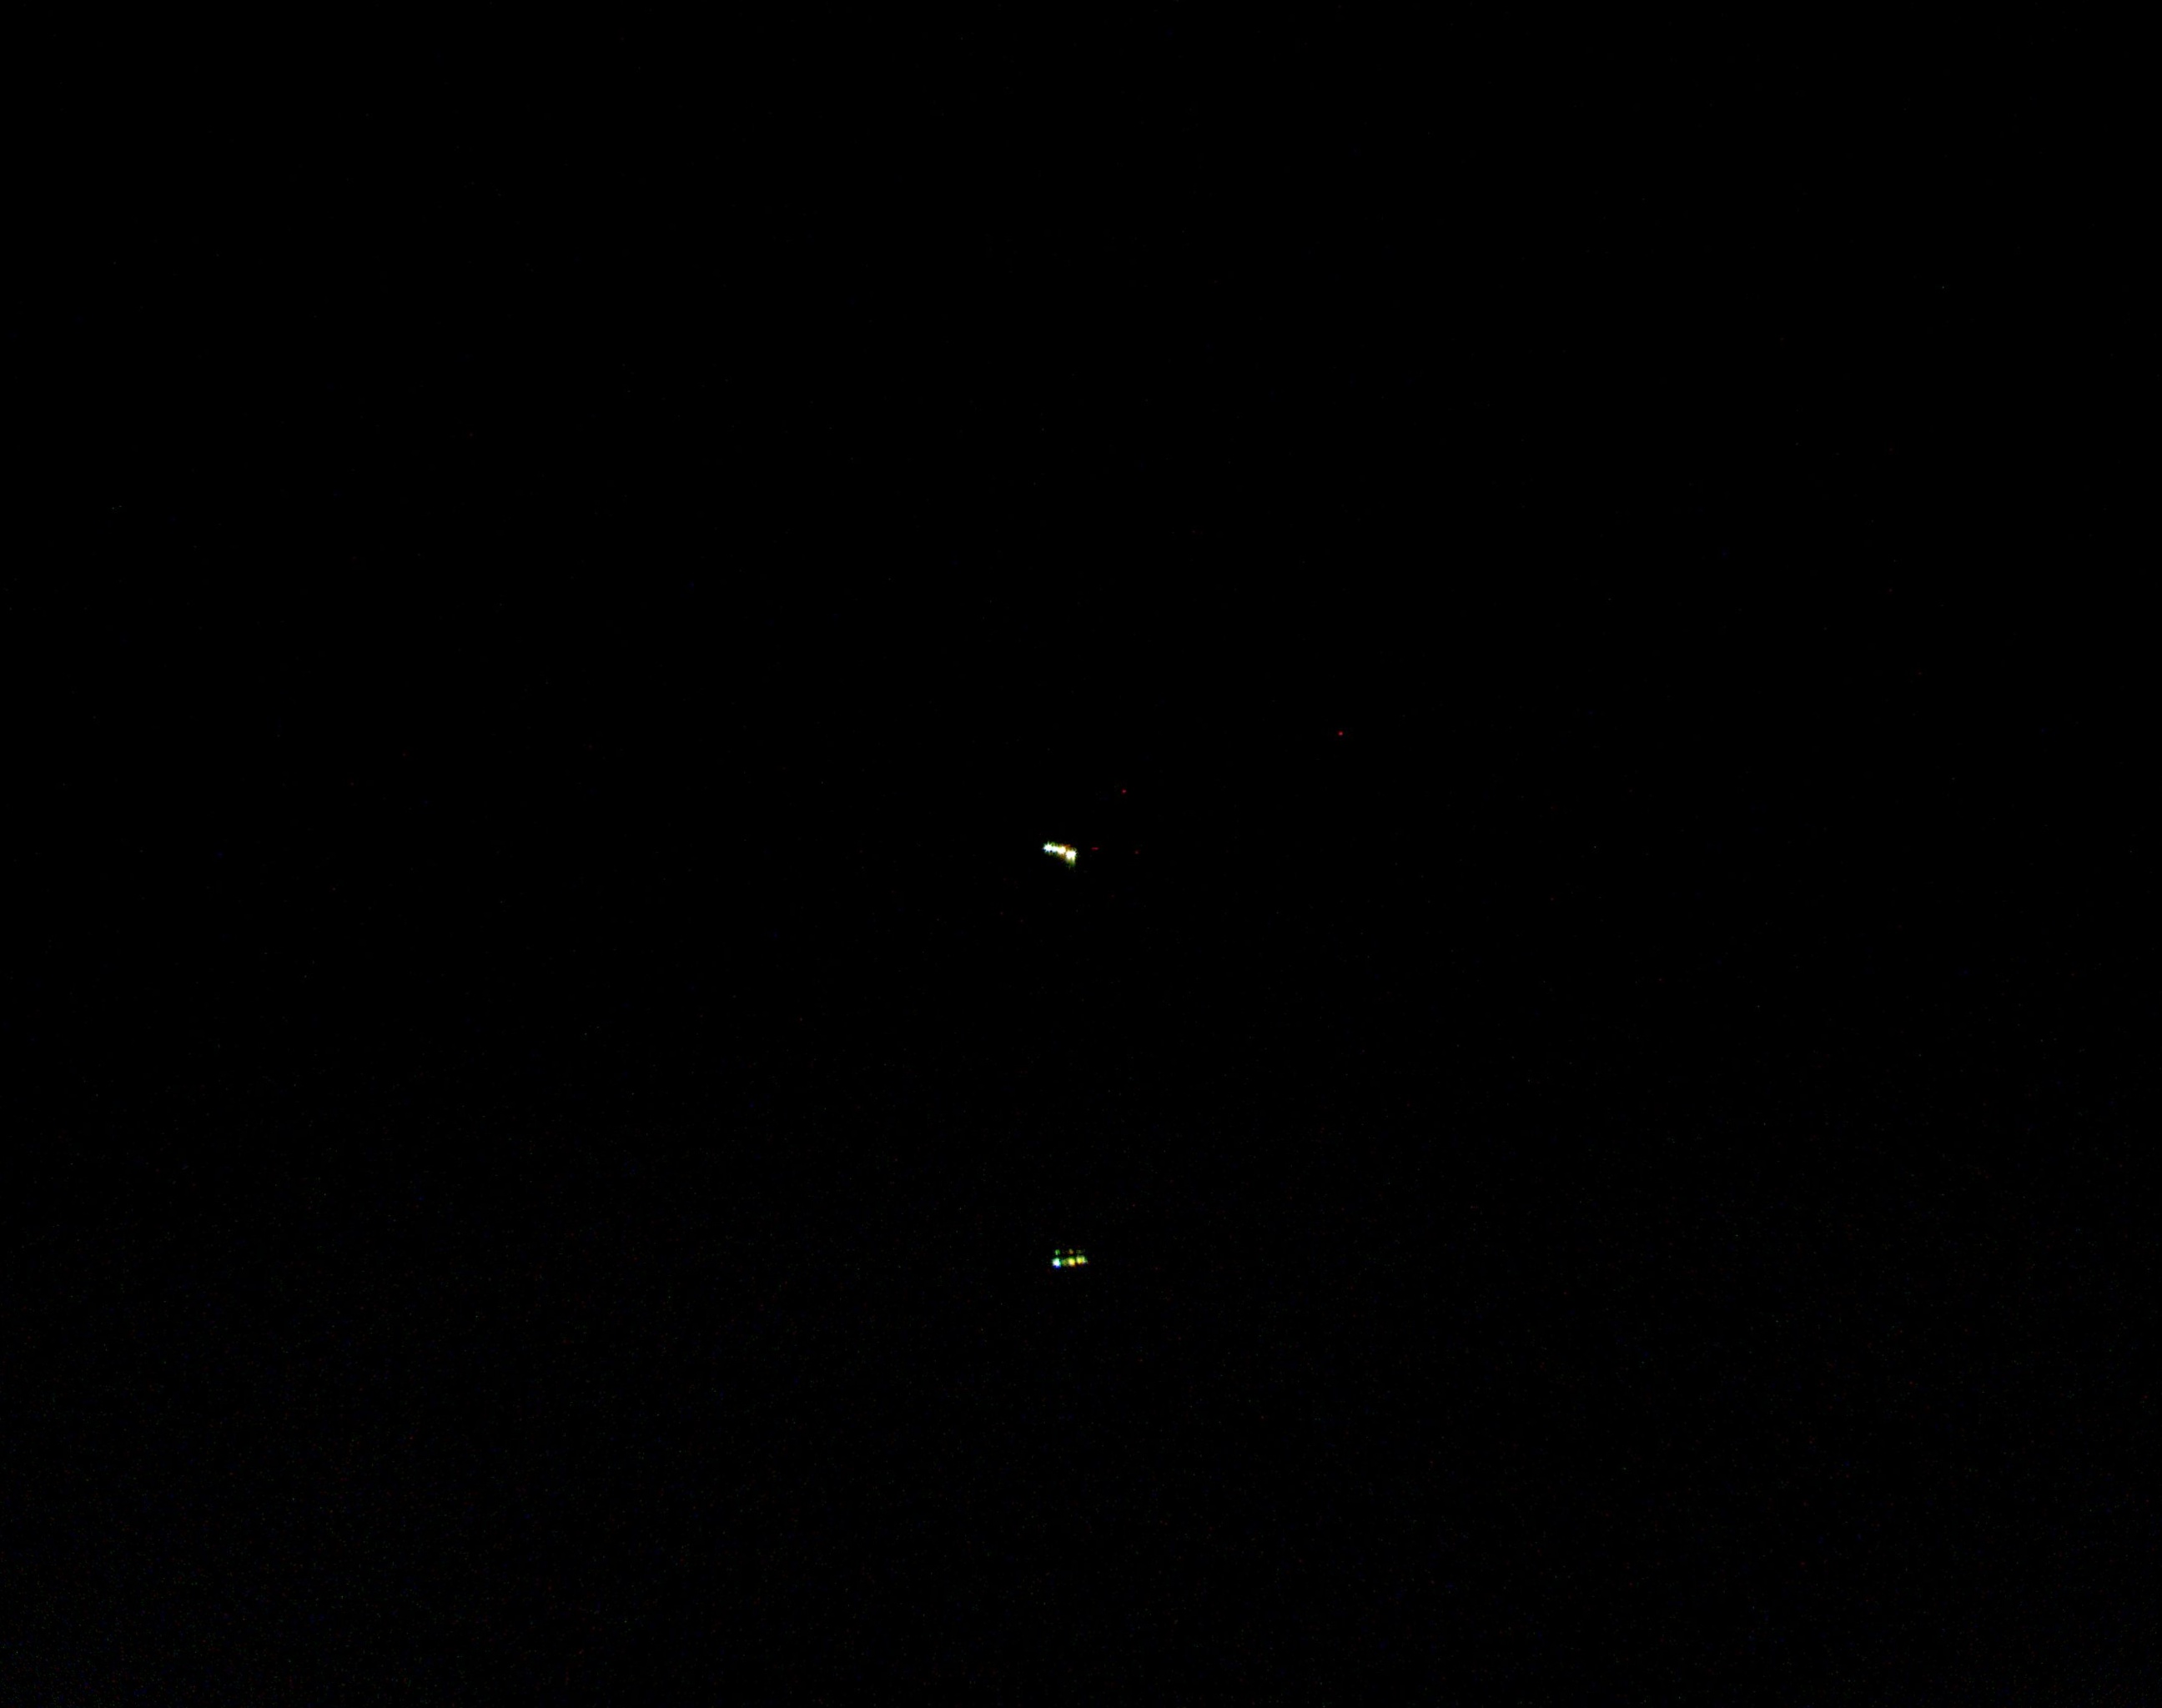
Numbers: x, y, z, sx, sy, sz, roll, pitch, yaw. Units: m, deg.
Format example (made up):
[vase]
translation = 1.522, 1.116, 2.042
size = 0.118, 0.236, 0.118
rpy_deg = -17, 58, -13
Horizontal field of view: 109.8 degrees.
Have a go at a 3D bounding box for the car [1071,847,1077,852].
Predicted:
[car]
translation = -2.427, -1.482, 256.368
size = 1.860, 1.609, 3.998
rpy_deg = -1, 1, -3
